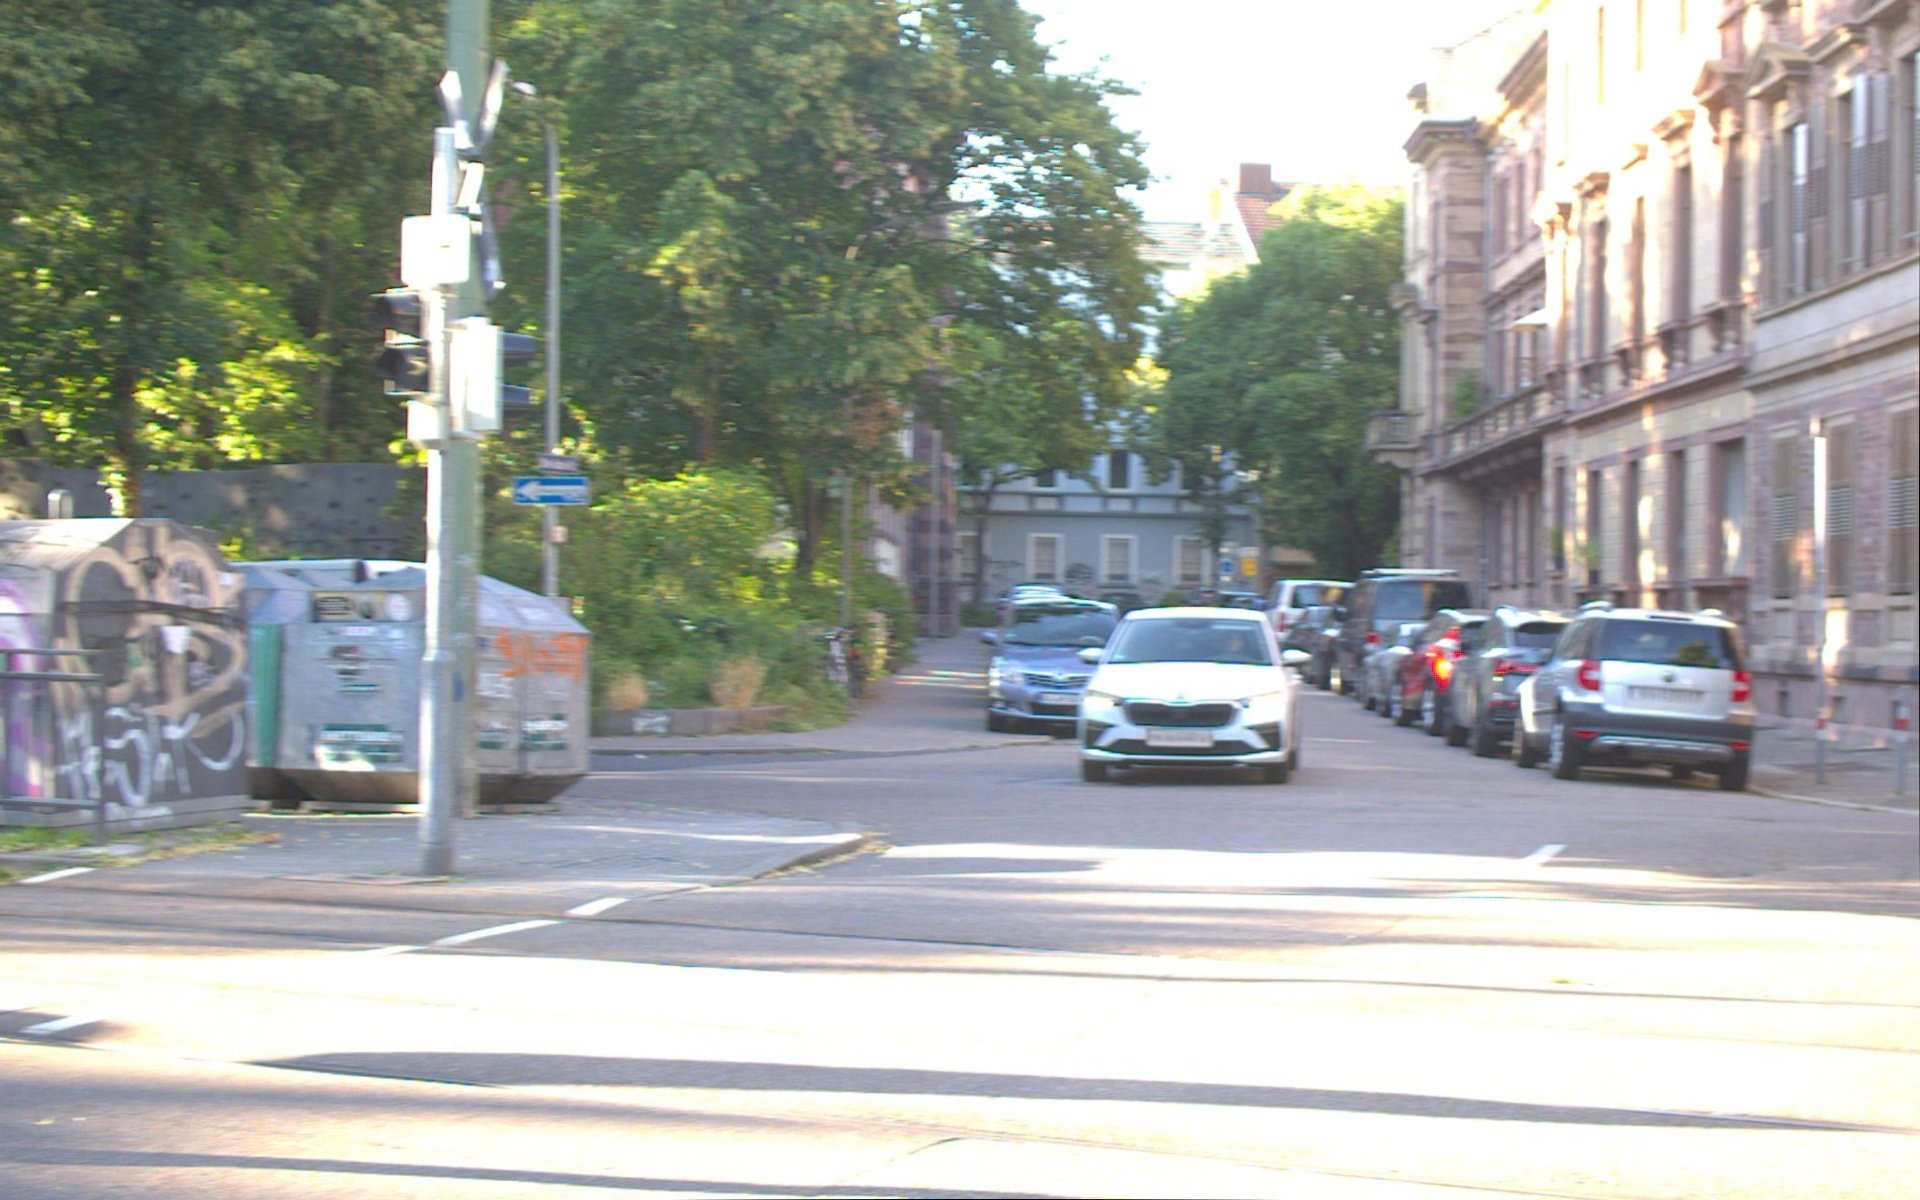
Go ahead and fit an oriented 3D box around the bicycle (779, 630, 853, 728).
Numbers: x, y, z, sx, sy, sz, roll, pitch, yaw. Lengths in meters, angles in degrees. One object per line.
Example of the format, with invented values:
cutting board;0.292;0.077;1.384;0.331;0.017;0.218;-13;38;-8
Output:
bicycle;-1.708;0.926;41.112;0.597;1.098;2.627;1;0;4

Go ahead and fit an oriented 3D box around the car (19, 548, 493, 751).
car;-7.382;0.478;35.962;4.651;1.996;1.947;1;0;27

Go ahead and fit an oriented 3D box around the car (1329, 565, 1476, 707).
car;6.973;0.547;54.524;1.798;2.065;3.955;3;0;1

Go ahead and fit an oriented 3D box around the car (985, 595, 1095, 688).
car;1.461;0.718;61.915;1.826;1.495;3.931;4;0;2

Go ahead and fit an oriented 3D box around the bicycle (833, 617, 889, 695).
bicycle;-1.440;0.806;50.344;0.597;1.098;2.627;1;0;3

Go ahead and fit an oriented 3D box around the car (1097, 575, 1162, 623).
car;6.565;-0.017;133.174;1.993;1.678;4.000;2;-2;-4

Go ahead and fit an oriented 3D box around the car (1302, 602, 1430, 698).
car;7.123;0.853;60.630;1.798;1.518;3.955;3;0;1

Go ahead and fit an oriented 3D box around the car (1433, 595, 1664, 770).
car;6.473;0.865;38.289;1.826;1.718;4.543;4;0;2

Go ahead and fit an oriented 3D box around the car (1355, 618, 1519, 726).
car;6.699;0.983;48.638;1.798;1.341;3.955;3;0;1

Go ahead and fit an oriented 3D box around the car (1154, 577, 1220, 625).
car;8.792;0.055;133.414;1.993;1.678;4.000;2;-2;-4

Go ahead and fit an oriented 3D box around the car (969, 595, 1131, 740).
car;1.148;0.804;43.113;1.826;1.609;4.291;4;0;2

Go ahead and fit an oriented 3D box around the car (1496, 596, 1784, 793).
car;6.479;0.868;33.185;1.916;1.651;4.186;4;0;1

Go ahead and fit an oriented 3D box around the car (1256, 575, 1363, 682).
car;7.233;0.577;71.422;1.798;2.065;3.955;3;0;1

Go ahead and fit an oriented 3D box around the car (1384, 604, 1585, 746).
car;6.598;0.910;43.626;1.797;1.608;3.955;3;0;-1

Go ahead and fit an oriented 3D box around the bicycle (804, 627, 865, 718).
bicycle;-1.586;0.912;43.828;0.597;1.098;2.627;1;0;1

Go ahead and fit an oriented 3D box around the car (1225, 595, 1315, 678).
car;7.443;0.854;82.762;1.798;1.832;3.955;3;0;1

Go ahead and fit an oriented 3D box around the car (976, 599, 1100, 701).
car;1.279;0.776;55.315;1.826;1.473;3.931;4;0;2

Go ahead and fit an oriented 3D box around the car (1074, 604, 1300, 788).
car;2.034;0.778;29.878;1.702;1.452;4.061;1;0;7

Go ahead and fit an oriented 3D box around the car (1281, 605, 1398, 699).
car;7.224;0.965;65.705;1.798;1.617;3.955;3;0;1
